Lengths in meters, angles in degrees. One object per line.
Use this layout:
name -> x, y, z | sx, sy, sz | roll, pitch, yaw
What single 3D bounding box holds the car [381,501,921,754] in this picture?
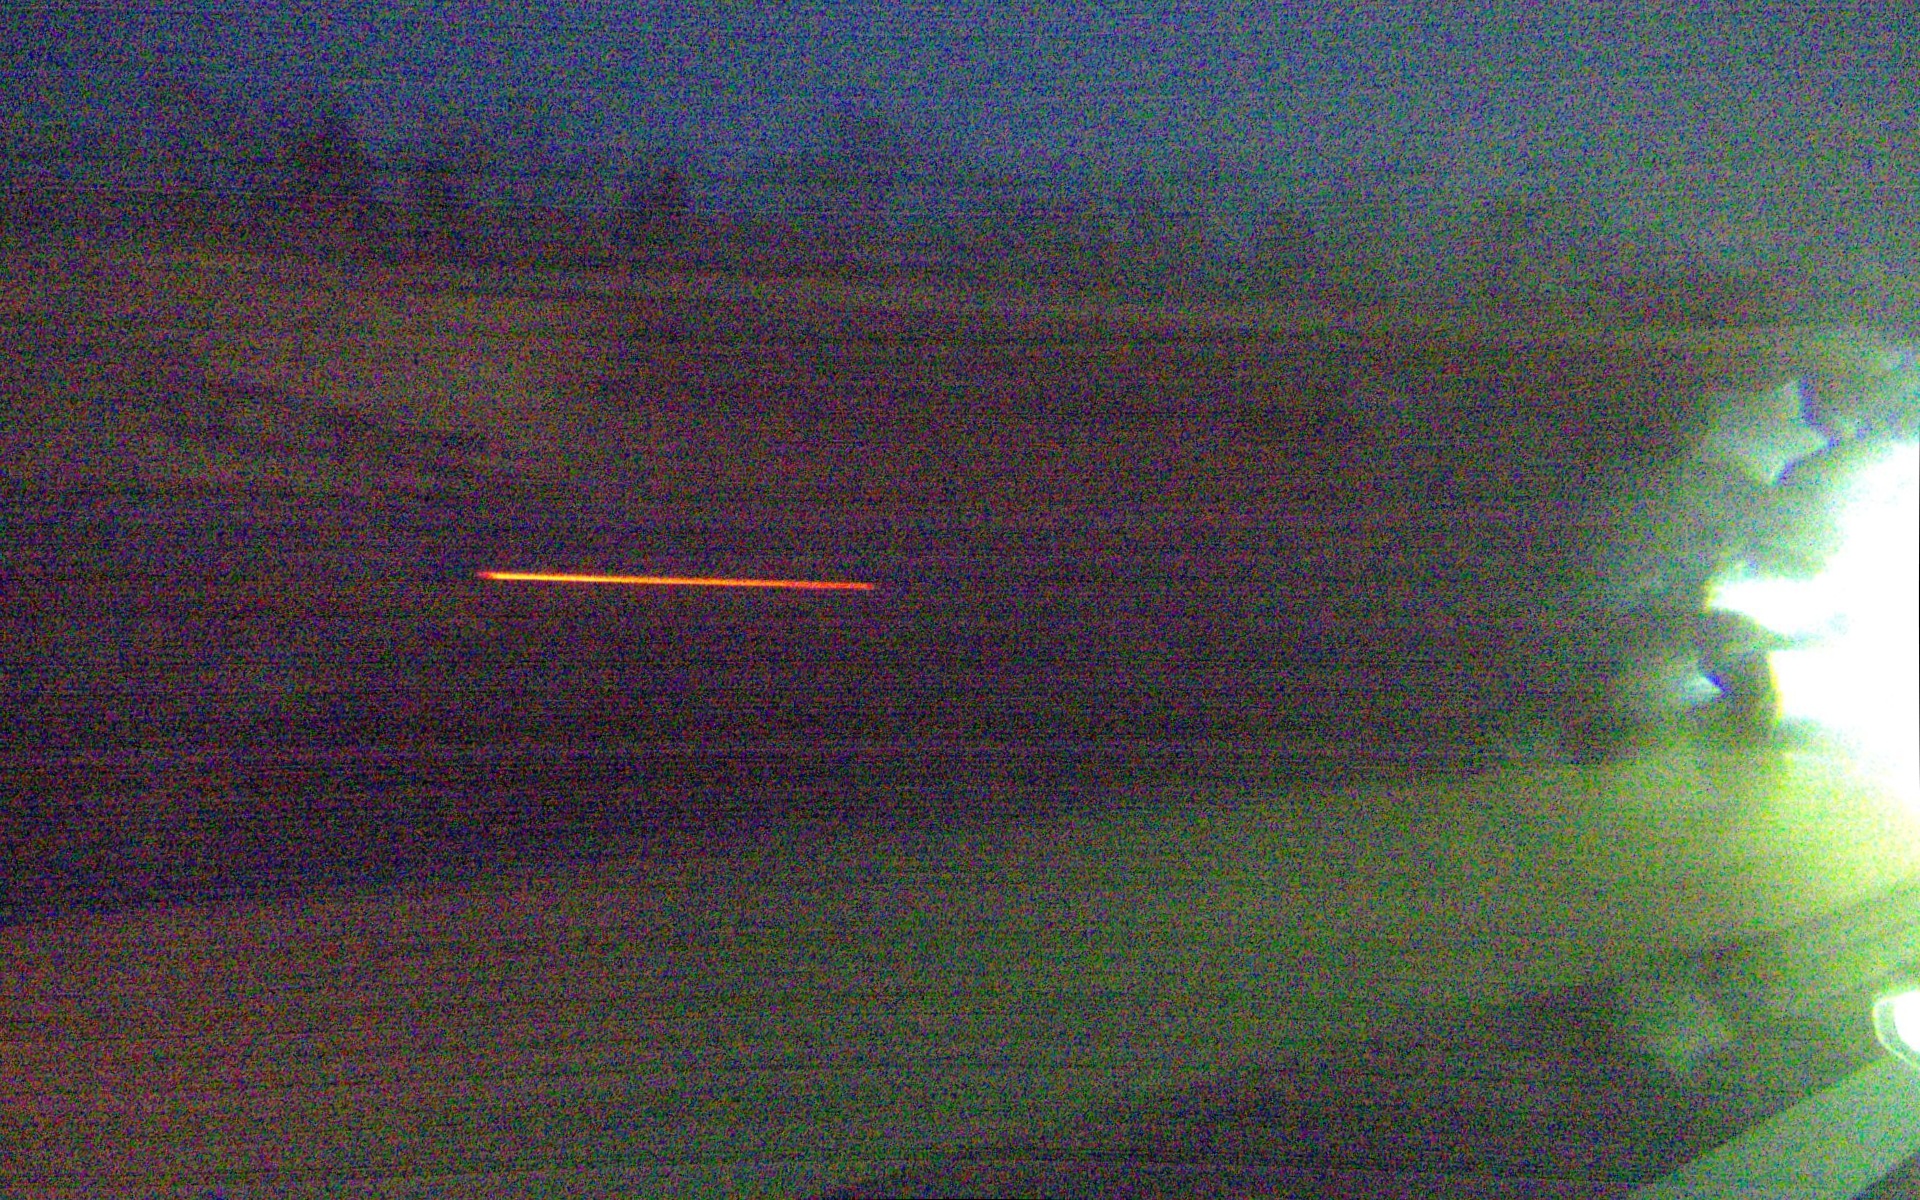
car -> -2.550, 0.089, 8.421 | 3.953, 1.658, 1.983 | -1, 5, -30
